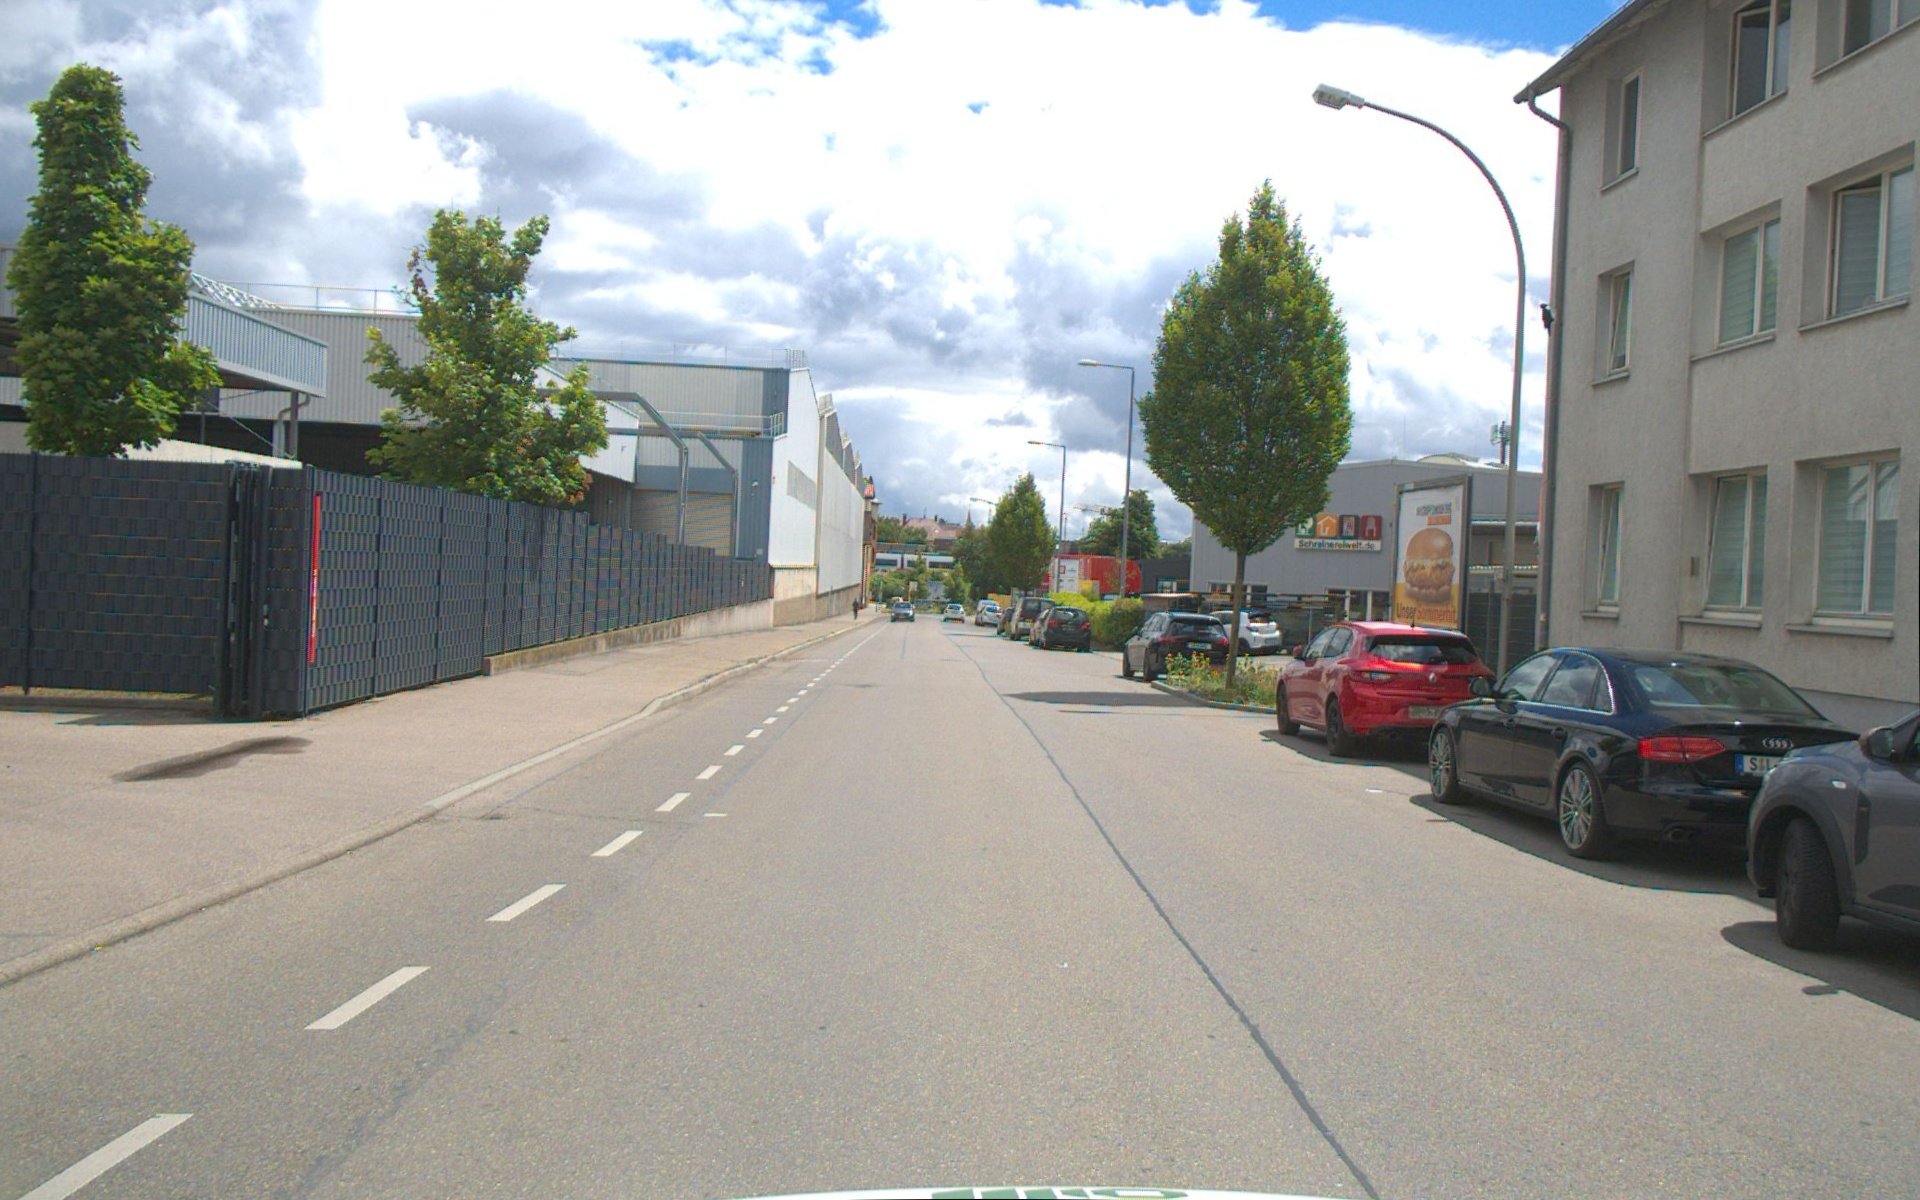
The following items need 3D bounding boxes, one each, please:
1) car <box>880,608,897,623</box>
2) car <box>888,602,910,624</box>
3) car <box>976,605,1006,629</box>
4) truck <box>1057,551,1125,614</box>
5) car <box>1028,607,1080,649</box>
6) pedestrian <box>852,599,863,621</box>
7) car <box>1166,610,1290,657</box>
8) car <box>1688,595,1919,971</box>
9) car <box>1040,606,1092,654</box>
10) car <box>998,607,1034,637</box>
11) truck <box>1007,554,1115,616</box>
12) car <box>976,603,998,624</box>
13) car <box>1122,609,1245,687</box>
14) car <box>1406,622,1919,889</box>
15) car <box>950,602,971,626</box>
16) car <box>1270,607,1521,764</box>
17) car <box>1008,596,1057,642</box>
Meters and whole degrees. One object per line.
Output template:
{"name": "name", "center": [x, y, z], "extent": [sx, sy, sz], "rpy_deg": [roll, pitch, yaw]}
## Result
{"name": "car", "center": [-8.078, 1.723, 187.643], "extent": [1.815, 1.512, 3.998], "rpy_deg": [2, -2, -2]}
{"name": "car", "center": [-4.726, 1.052, 128.422], "extent": [1.684, 1.583, 4.285], "rpy_deg": [-1, -1, -2]}
{"name": "car", "center": [2.241, 1.250, 121.037], "extent": [1.668, 1.554, 3.734], "rpy_deg": [5, 0, -5]}
{"name": "truck", "center": [10.097, -1.301, 128.404], "extent": [2.533, 4.527, 7.826], "rpy_deg": [3, -2, -16]}
{"name": "car", "center": [3.774, 1.106, 67.032], "extent": [1.622, 1.567, 4.732], "rpy_deg": [2, -1, -2]}
{"name": "pedestrian", "center": [-7.814, 0.761, 125.825], "extent": [0.777, 1.583, 0.752], "rpy_deg": [-1, -2, -2]}
{"name": "car", "center": [8.988, 1.119, 55.697], "extent": [1.709, 1.488, 4.016], "rpy_deg": [-1, 0, -40]}
{"name": "car", "center": [5.215, 0.898, 7.095], "extent": [1.644, 1.666, 4.791], "rpy_deg": [4, 0, -5]}
{"name": "car", "center": [3.943, 1.114, 61.996], "extent": [1.645, 1.666, 4.122], "rpy_deg": [2, -1, 0]}
{"name": "car", "center": [3.046, 1.192, 90.694], "extent": [1.679, 1.499, 4.509], "rpy_deg": [2, -1, -2]}
{"name": "truck", "center": [8.264, -1.236, 135.146], "extent": [8.274, 4.753, 2.583], "rpy_deg": [1, -2, 20]}
{"name": "car", "center": [2.143, 1.066, 131.709], "extent": [1.666, 1.554, 3.738], "rpy_deg": [3, 0, 0]}
{"name": "car", "center": [4.708, 0.989, 35.517], "extent": [1.755, 1.491, 4.705], "rpy_deg": [2, -1, -3]}
{"name": "car", "center": [5.014, 0.990, 12.590], "extent": [1.700, 1.448, 4.858], "rpy_deg": [3, 0, -2]}
{"name": "car", "center": [0.006, 1.161, 134.617], "extent": [1.535, 1.817, 3.603], "rpy_deg": [2, -2, -2]}
{"name": "car", "center": [4.927, 0.898, 19.321], "extent": [1.700, 1.498, 4.260], "rpy_deg": [3, 0, -1]}
{"name": "car", "center": [3.347, 0.884, 77.089], "extent": [1.831, 2.025, 5.141], "rpy_deg": [2, -1, -2]}
